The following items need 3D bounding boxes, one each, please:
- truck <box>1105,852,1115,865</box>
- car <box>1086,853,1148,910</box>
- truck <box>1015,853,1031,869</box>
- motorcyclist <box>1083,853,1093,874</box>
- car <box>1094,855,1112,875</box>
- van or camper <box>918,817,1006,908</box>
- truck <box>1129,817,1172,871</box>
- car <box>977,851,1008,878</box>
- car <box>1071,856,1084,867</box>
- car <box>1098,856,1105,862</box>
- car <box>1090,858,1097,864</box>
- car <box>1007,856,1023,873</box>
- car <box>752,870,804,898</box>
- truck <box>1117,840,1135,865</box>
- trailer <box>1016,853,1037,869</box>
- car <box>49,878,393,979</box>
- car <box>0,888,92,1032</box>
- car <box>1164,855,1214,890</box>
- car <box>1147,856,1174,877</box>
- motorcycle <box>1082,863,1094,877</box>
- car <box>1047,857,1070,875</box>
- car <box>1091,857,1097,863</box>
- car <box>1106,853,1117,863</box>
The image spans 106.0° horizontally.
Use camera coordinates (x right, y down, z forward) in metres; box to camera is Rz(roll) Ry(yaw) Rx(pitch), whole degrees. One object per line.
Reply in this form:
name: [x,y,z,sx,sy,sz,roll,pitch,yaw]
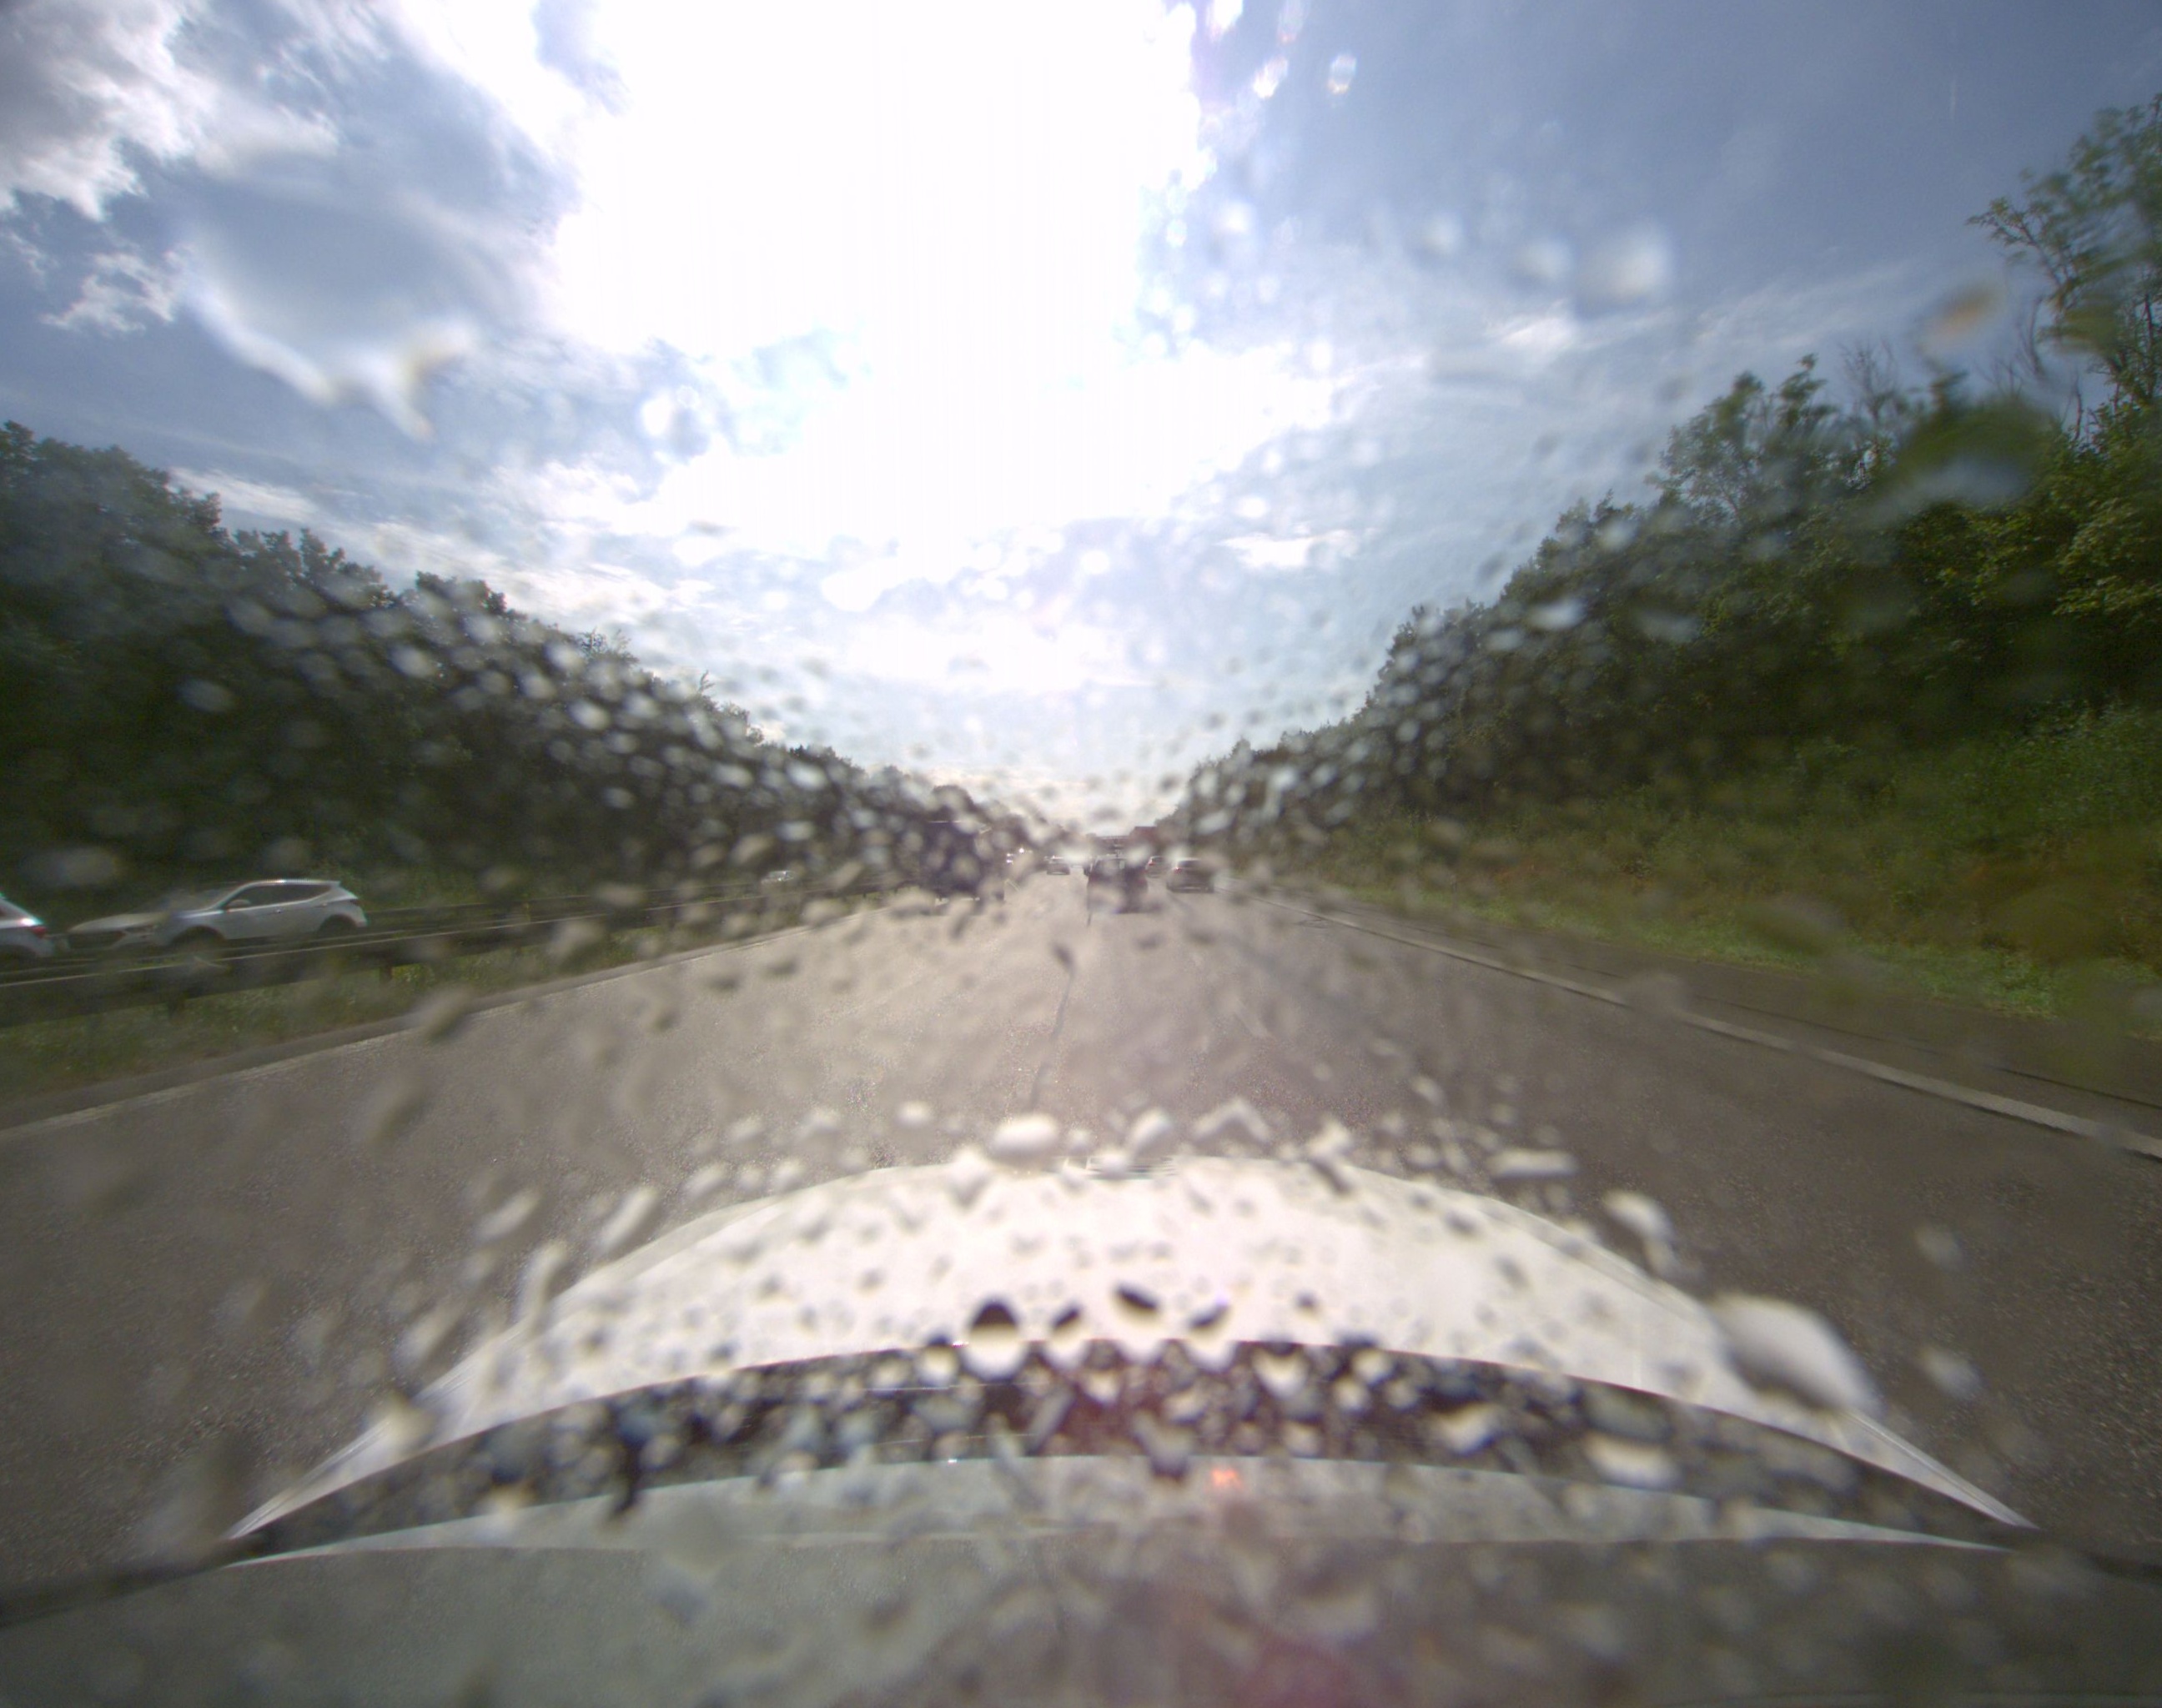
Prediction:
truck: [6.168,0.951,174.434,2.184,2.875,4.850,0,-1,1]
car: [1.027,0.779,24.340,1.711,1.568,3.485,0,-1,1]
truck: [-14.185,1.650,198.571,2.978,3.831,6.869,0,-1,3]
motorcyclist: [0.554,0.717,63.034,0.799,1.633,1.013,0,-1,1]
car: [1.879,0.937,71.344,1.526,1.746,3.485,0,-1,1]
van or camper: [-3.747,0.265,26.642,1.986,2.669,5.386,0,-1,1]
truck: [6.651,-0.829,80.748,3.635,4.720,16.791,0,0,3]
car: [-8.171,0.978,75.801,2.175,2.452,5.749,0,-1,1]
car: [-0.495,1.030,113.345,1.745,1.457,3.390,0,-1,1]
car: [6.028,1.527,237.338,1.986,1.701,4.001,-2,0,1]
car: [2.611,1.481,170.033,1.479,1.390,3.199,0,-1,1]
car: [-12.063,1.911,148.664,2.255,2.870,6.933,0,0,1]
car: [-19.544,1.923,52.672,1.725,1.663,4.237,0,0,1]
truck: [8.591,-0.239,156.823,3.242,4.479,12.430,0,0,3]
trailer: [-13.691,1.713,206.889,2.978,3.831,17.966,0,0,3]
car: [-17.234,1.394,16.791,2.009,1.663,4.699,0,0,1]
car: [-13.624,1.261,8.344,1.725,1.663,4.237,0,0,1]
car: [4.638,0.776,35.335,1.686,1.425,4.221,0,0,1]
car: [5.649,0.896,58.207,1.674,1.442,3.905,0,0,1]
motorcycle: [0.544,1.219,63.073,0.887,1.000,2.897,0,0,1]
car: [-1.958,1.036,70.865,1.848,1.551,3.485,0,-1,1]
car: [3.057,1.435,192.540,1.544,1.267,3.485,0,0,1]
car: [4.563,0.622,120.714,1.547,1.383,3.210,0,-1,1]
